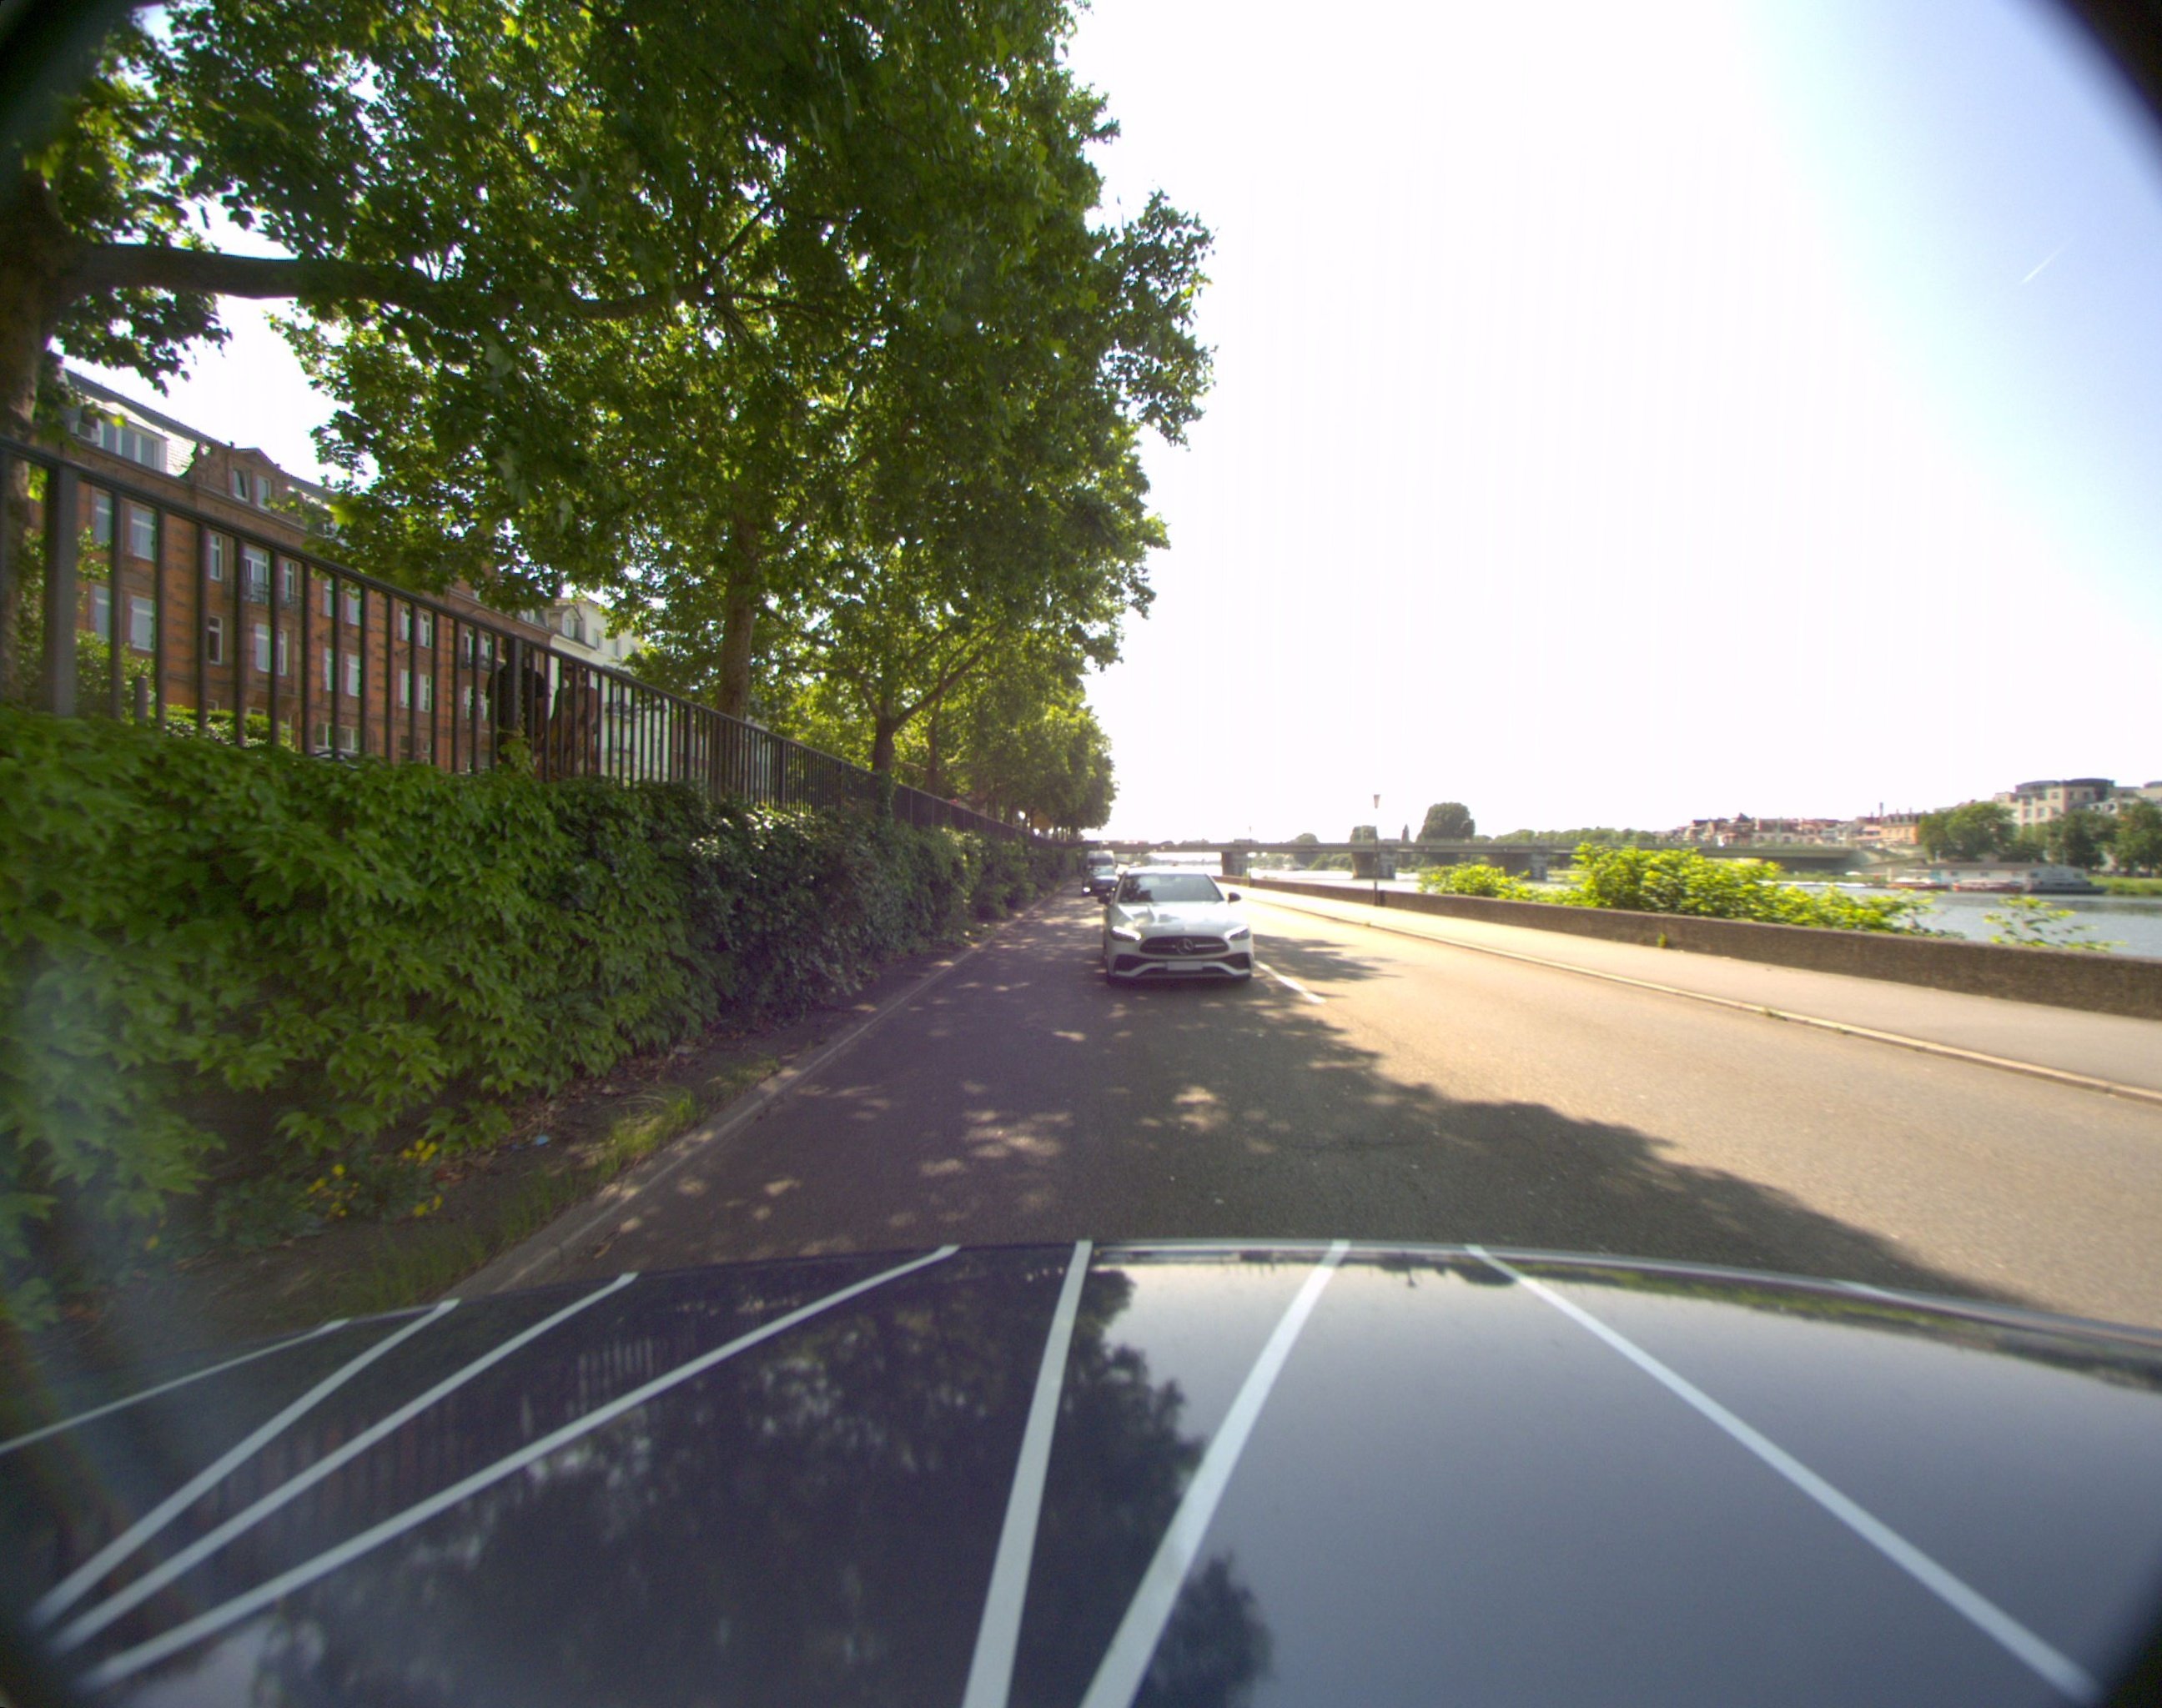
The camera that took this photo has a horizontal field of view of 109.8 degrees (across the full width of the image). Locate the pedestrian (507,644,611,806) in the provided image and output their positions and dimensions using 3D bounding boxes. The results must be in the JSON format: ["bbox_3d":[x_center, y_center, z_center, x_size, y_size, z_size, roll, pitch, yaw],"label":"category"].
[{"bbox_3d":[-4.893,-1.179,7.156,0.586,1.411,0.589,1,0,-7],"label":"pedestrian"}]

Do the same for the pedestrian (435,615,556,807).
[{"bbox_3d":[-5.391,-1.281,7.031,0.649,1.630,0.626,1,0,-7],"label":"pedestrian"}]

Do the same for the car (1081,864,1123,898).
[{"bbox_3d":[0.945,1.227,36.103,1.756,1.384,4.620,-3,-1,0],"label":"car"}]

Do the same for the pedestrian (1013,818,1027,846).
[{"bbox_3d":[-3.526,-1.253,43.850,0.738,1.582,0.811,1,0,1],"label":"pedestrian"}]

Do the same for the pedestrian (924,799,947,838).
[{"bbox_3d":[-4.726,-1.142,24.688,0.577,1.236,0.691,1,0,0],"label":"pedestrian"}]

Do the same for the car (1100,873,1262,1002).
[{"bbox_3d":[1.210,1.021,11.047,1.830,1.411,4.553,-1,-1,1],"label":"car"}]

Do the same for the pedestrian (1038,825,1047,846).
[{"bbox_3d":[-2.892,-1.393,57.044,0.666,1.582,0.765,1,0,1],"label":"pedestrian"}]

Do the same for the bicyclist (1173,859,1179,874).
[{"bbox_3d":[10.919,1.412,87.389,0.663,1.692,0.975,1,0,1],"label":"bicyclist"}]

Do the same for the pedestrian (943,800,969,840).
[{"bbox_3d":[-4.011,-1.092,24.394,0.713,1.236,0.742,1,0,0],"label":"pedestrian"}]

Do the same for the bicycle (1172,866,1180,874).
[{"bbox_3d":[10.929,1.840,87.365,0.654,0.977,1.944,1,0,1],"label":"bicycle"}]

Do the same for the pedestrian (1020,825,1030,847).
[{"bbox_3d":[-4.168,-1.357,56.491,0.666,1.582,0.651,1,0,1],"label":"pedestrian"}]

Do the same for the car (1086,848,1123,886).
[{"bbox_3d":[1.545,0.856,51.619,2.351,2.428,6.209,0,0,0],"label":"car"}]

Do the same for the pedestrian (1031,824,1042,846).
[{"bbox_3d":[-3.318,-1.387,56.182,0.738,1.582,0.811,1,0,1],"label":"pedestrian"}]

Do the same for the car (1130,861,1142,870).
[{"bbox_3d":[8.787,1.812,121.294,1.676,1.433,3.902,1,0,1],"label":"car"}]
